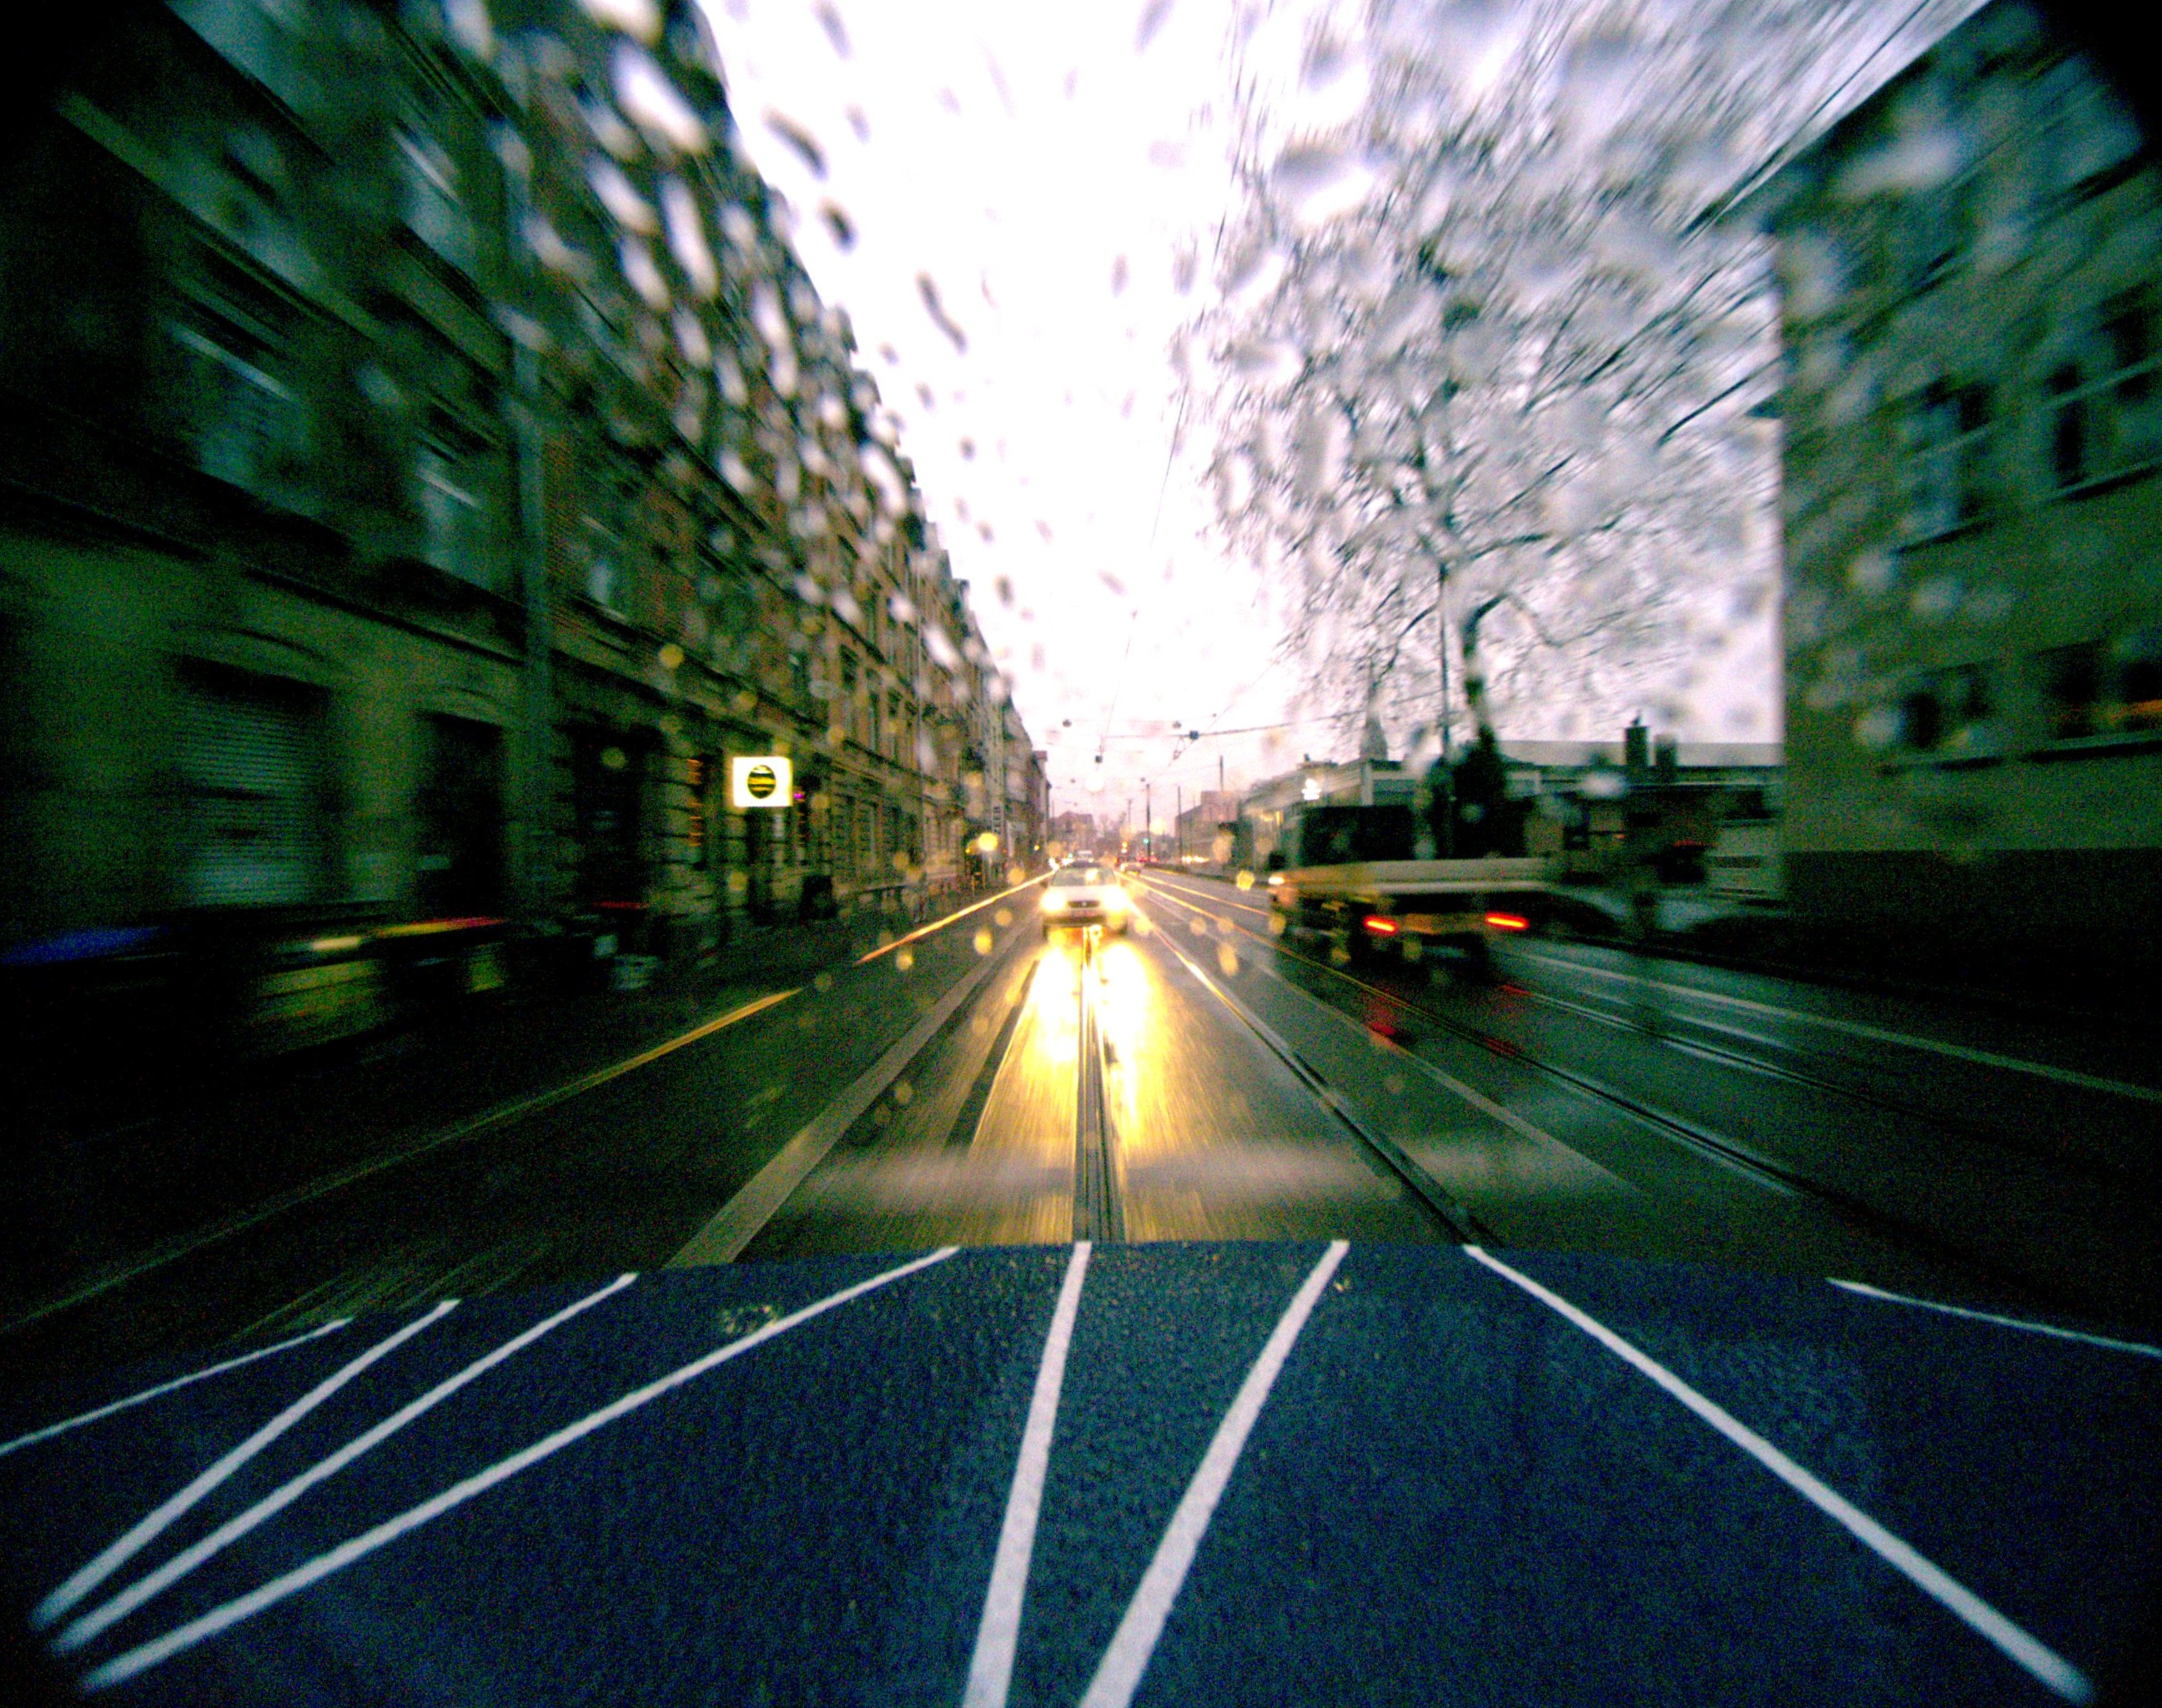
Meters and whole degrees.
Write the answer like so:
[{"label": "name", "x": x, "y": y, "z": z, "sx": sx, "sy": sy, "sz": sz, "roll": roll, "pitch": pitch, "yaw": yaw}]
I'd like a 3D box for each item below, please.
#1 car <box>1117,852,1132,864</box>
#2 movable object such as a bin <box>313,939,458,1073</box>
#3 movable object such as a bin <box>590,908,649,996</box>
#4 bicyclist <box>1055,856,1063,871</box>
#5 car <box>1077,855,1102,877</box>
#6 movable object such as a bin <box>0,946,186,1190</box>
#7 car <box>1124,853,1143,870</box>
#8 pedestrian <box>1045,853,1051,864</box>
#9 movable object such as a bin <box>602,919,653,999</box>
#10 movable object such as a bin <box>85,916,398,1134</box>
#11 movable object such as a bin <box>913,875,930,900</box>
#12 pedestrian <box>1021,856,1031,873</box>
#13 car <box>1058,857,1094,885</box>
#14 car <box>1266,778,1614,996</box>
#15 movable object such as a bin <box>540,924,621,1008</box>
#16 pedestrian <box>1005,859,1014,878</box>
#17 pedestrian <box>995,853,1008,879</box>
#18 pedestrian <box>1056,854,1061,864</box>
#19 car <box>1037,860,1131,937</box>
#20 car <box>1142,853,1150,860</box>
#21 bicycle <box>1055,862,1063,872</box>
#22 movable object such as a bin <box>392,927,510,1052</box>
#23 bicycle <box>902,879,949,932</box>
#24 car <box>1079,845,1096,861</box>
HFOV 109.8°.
[{"label": "car", "x": 6.458, "y": 0.551, "z": 113.545, "sx": 1.880, "sy": 1.700, "sz": 4.760, "roll": -1, "pitch": 0, "yaw": 0}, {"label": "movable object such as a bin", "x": -6.090, "y": 1.303, "z": 6.675, "sx": 0.766, "sy": 1.032, "sz": 0.600, "roll": -1, "pitch": 0, "yaw": 16}, {"label": "movable object such as a bin", "x": -6.124, "y": 1.280, "z": 10.100, "sx": 0.614, "sy": 1.074, "sz": 0.490, "roll": -2, "pitch": 0, "yaw": -28}, {"label": "bicyclist", "x": -2.262, "y": 0.937, "z": 79.086, "sx": 0.727, "sy": 1.525, "sz": 0.785, "roll": -2, "pitch": 1, "yaw": 0}, {"label": "car", "x": 0.644, "y": 0.877, "z": 58.294, "sx": 1.824, "sy": 1.565, "sz": 4.000, "roll": -2, "pitch": 0, "yaw": 1}, {"label": "movable object such as a bin", "x": -6.119, "y": 1.194, "z": 4.443, "sx": 0.766, "sy": 1.203, "sz": 0.819, "roll": -1, "pitch": 0, "yaw": 1}, {"label": "car", "x": 4.888, "y": 0.674, "z": 71.464, "sx": 1.534, "sy": 1.473, "sz": 3.561, "roll": -2, "pitch": 0, "yaw": 1}, {"label": "pedestrian", "x": -5.425, "y": 0.735, "z": 124.758, "sx": 0.777, "sy": 1.734, "sz": 0.673, "roll": -1, "pitch": 1, "yaw": 1}, {"label": "movable object such as a bin", "x": -5.734, "y": 1.310, "z": 9.622, "sx": 0.490, "sy": 0.923, "sz": 0.424, "roll": -2, "pitch": 0, "yaw": -26}, {"label": "movable object such as a bin", "x": -6.011, "y": 1.160, "z": 5.567, "sx": 0.890, "sy": 1.281, "sz": 1.261, "roll": -1, "pitch": 0, "yaw": -6}, {"label": "movable object such as a bin", "x": -6.111, "y": 1.294, "z": 29.117, "sx": 0.508, "sy": 0.926, "sz": 0.507, "roll": -2, "pitch": 0, "yaw": -1}, {"label": "pedestrian", "x": -5.236, "y": 0.977, "z": 72.404, "sx": 0.788, "sy": 1.588, "sz": 0.741, "roll": -2, "pitch": 1, "yaw": -1}, {"label": "car", "x": -0.256, "y": 0.933, "z": 42.922, "sx": 1.797, "sy": 1.415, "sz": 4.000, "roll": -2, "pitch": 0, "yaw": 2}, {"label": "car", "x": 4.627, "y": 0.337, "z": 11.206, "sx": 2.452, "sy": 2.334, "sz": 5.844, "roll": -1, "pitch": 1, "yaw": 1}, {"label": "movable object such as a bin", "x": -5.959, "y": 1.325, "z": 9.069, "sx": 0.613, "sy": 0.923, "sz": 0.491, "roll": -1, "pitch": 0, "yaw": -1}, {"label": "pedestrian", "x": -5.530, "y": 1.120, "z": 58.604, "sx": 0.601, "sy": 1.369, "sz": 0.728, "roll": -2, "pitch": 1, "yaw": 0}, {"label": "pedestrian", "x": -5.607, "y": 0.841, "z": 53.737, "sx": 0.601, "sy": 1.807, "sz": 0.774, "roll": -3, "pitch": 1, "yaw": -27}, {"label": "pedestrian", "x": -3.735, "y": 0.795, "z": 125.888, "sx": 0.777, "sy": 1.734, "sz": 0.673, "roll": -1, "pitch": 1, "yaw": 1}, {"label": "car", "x": 0.135, "y": 0.892, "z": 16.955, "sx": 1.797, "sy": 1.415, "sz": 4.000, "roll": -2, "pitch": 0, "yaw": 2}, {"label": "car", "x": 15.630, "y": 0.626, "z": 183.217, "sx": 1.845, "sy": 1.569, "sz": 4.442, "roll": -2, "pitch": 0, "yaw": 2}, {"label": "bicycle", "x": -2.252, "y": 1.385, "z": 79.028, "sx": 0.725, "sy": 0.985, "sz": 2.212, "roll": -2, "pitch": 0, "yaw": 0}, {"label": "movable object such as a bin", "x": -6.031, "y": 1.271, "z": 7.293, "sx": 0.612, "sy": 1.075, "sz": 0.600, "roll": -1, "pitch": 0, "yaw": 16}, {"label": "bicycle", "x": -3.926, "y": 1.273, "z": 19.350, "sx": 0.685, "sy": 1.149, "sz": 2.188, "roll": -2, "pitch": 1, "yaw": 1}, {"label": "car", "x": 0.831, "y": -0.150, "z": 94.914, "sx": 2.018, "sy": 1.809, "sz": 3.688, "roll": -2, "pitch": 1, "yaw": 1}]
